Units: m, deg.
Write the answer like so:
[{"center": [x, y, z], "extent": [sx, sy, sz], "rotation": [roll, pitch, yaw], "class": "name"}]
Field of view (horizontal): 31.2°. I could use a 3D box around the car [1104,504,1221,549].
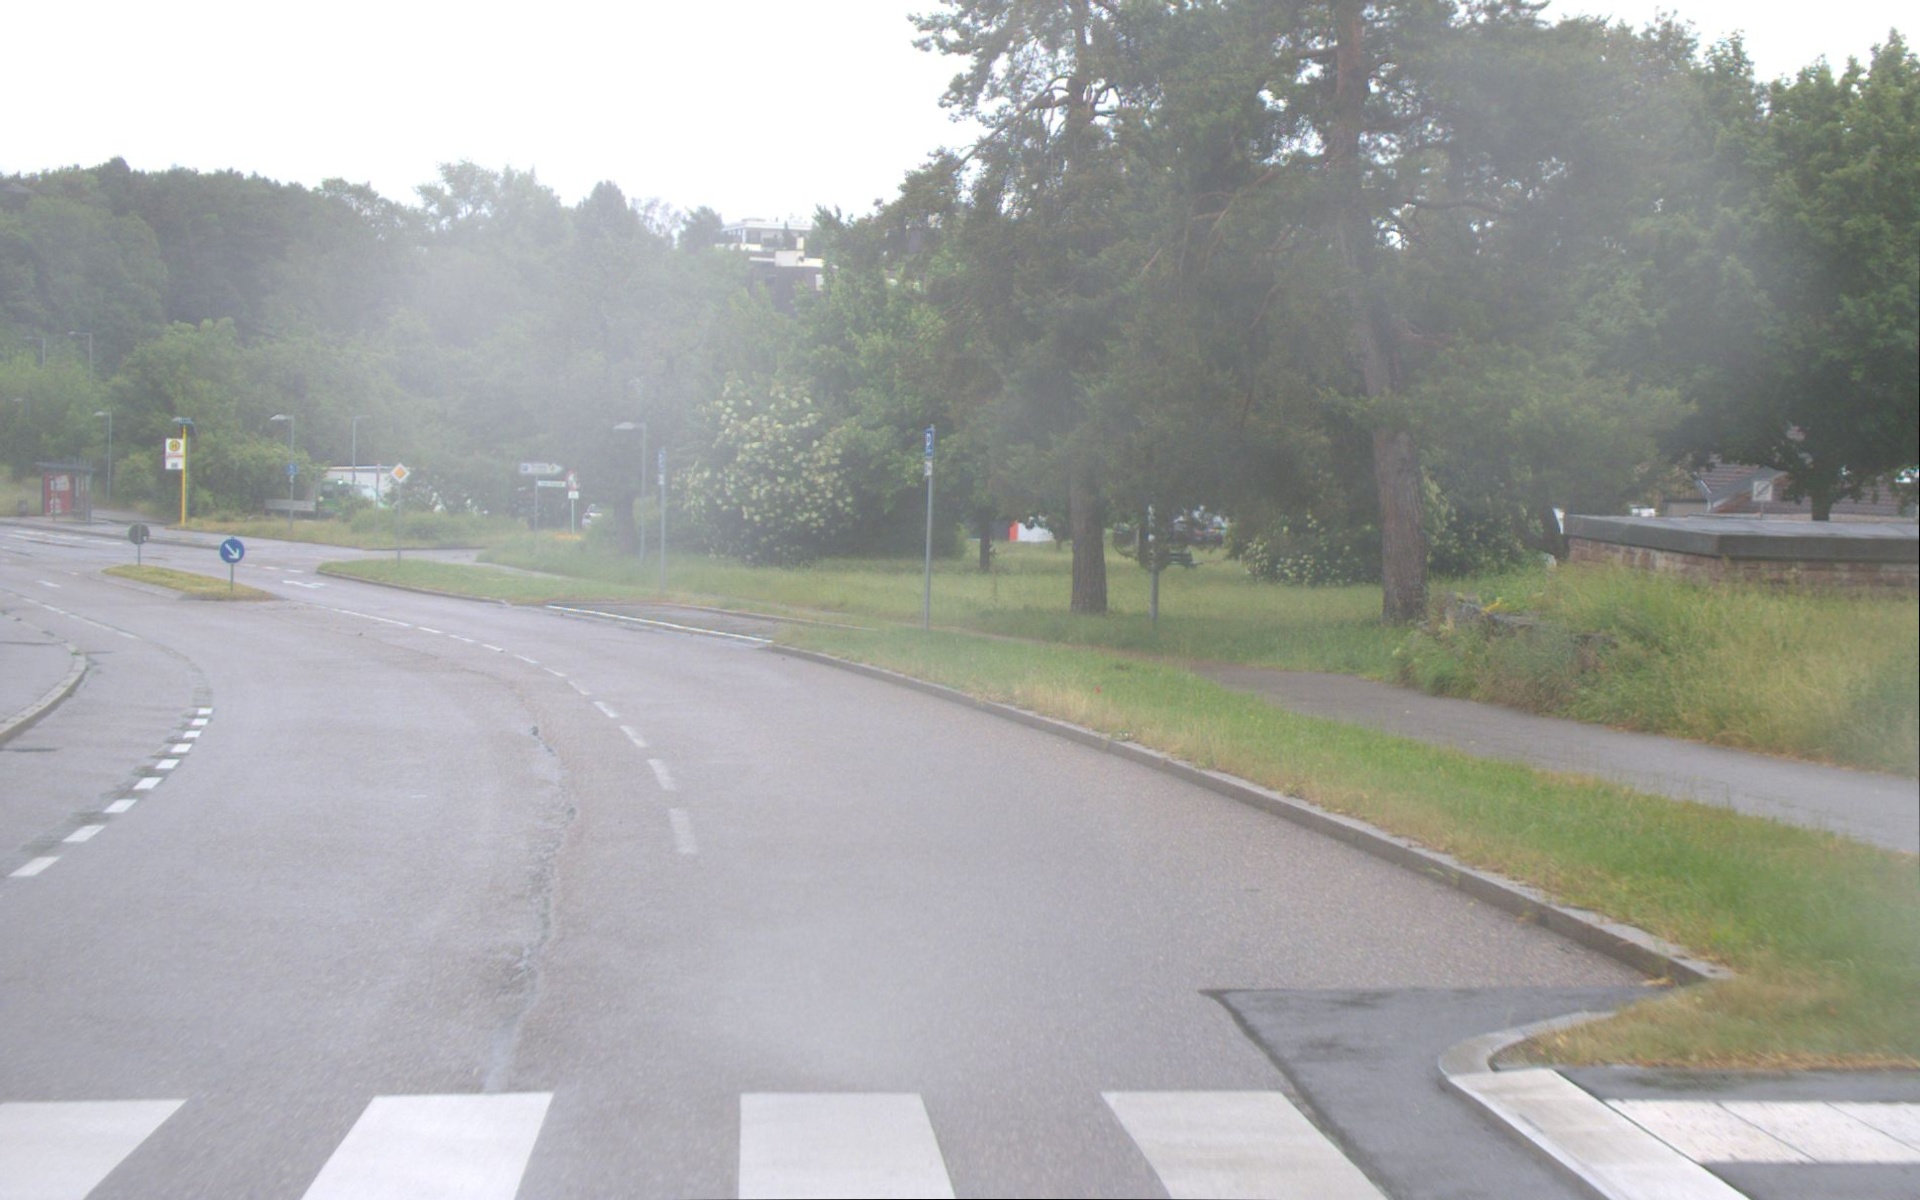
[{"center": [8.559, -3.118, 145.438], "extent": [4.553, 1.744, 1.909], "rotation": [-1, 1, 36], "class": "car"}]
